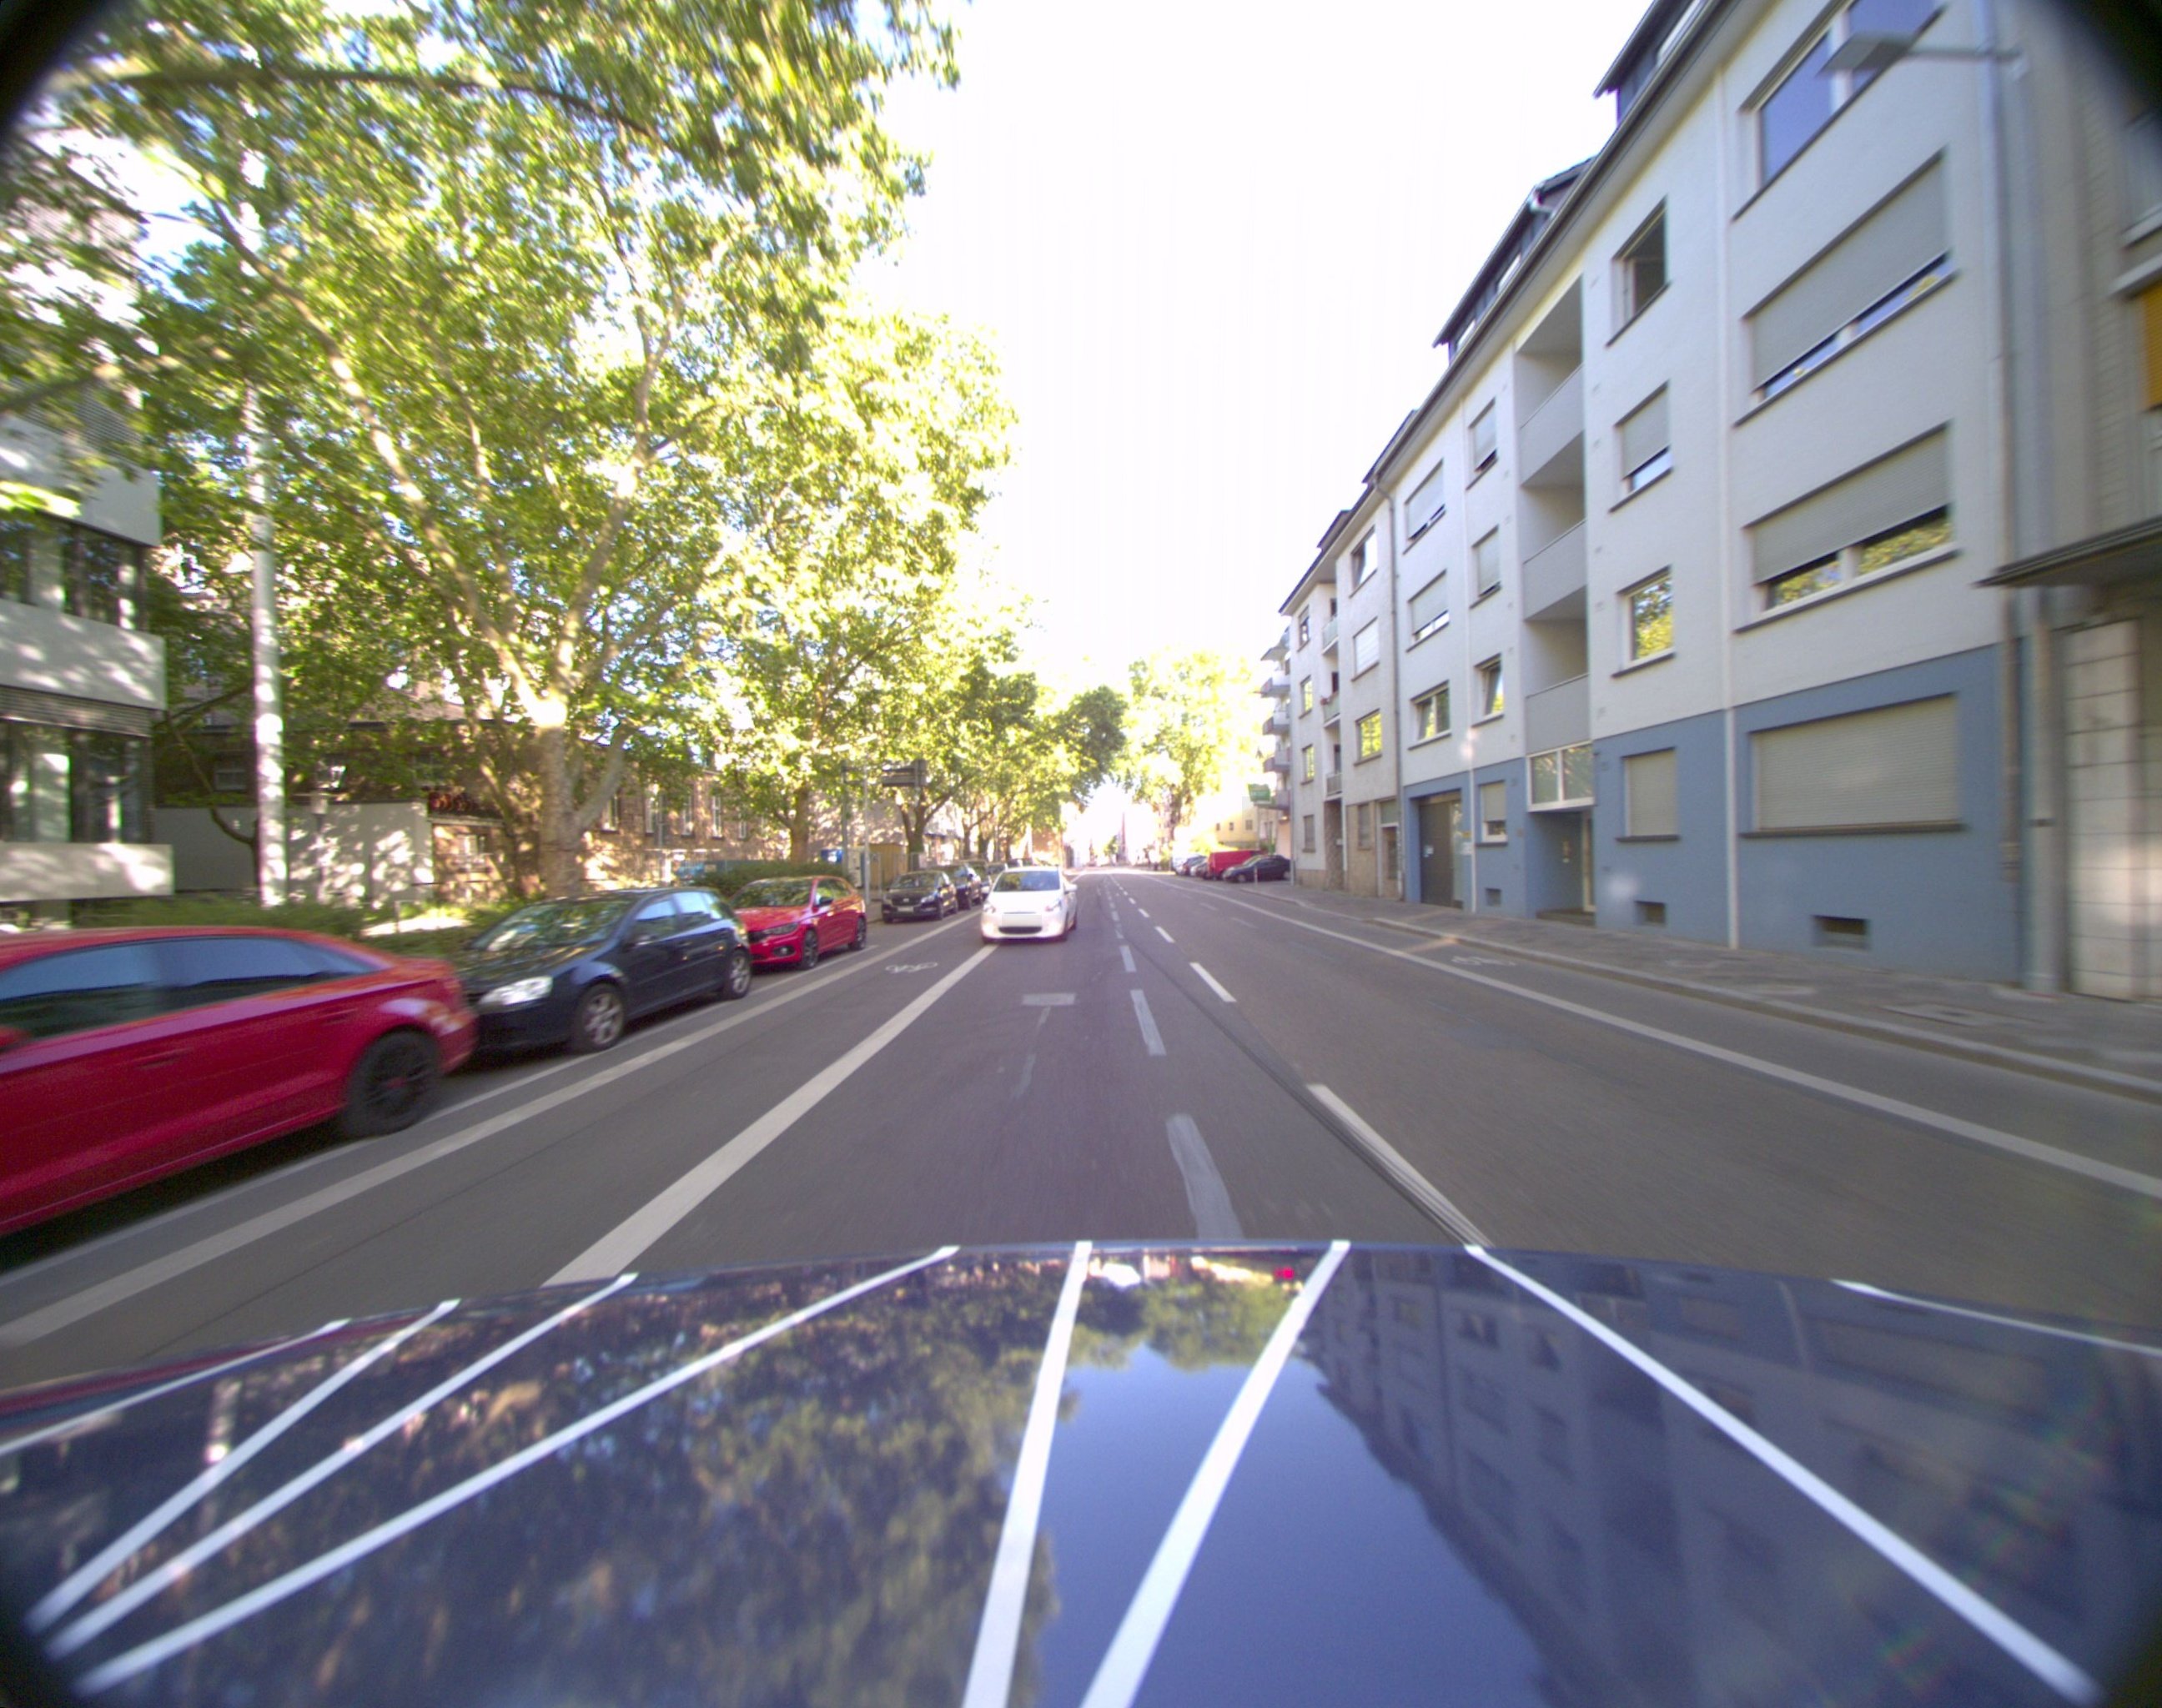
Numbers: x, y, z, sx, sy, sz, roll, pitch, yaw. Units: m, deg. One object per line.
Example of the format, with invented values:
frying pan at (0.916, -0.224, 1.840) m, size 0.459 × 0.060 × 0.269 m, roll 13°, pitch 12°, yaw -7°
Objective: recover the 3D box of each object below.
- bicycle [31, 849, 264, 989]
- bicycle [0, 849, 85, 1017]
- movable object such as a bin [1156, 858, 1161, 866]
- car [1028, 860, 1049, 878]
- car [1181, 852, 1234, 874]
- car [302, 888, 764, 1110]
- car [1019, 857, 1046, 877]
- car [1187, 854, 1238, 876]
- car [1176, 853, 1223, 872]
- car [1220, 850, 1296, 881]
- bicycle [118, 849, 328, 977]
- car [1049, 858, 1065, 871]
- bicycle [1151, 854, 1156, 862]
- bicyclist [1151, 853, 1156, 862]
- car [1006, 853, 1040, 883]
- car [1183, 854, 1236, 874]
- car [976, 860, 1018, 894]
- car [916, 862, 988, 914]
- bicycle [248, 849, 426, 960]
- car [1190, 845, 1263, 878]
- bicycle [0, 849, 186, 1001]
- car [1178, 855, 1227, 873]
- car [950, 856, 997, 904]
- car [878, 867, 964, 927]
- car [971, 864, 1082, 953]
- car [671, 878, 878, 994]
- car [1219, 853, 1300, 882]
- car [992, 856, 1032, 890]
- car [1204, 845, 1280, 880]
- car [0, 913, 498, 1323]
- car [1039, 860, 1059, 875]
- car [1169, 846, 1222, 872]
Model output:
bicycle at (-14.100, 0.952, 11.520) m, size 2.604 × 2.002 × 0.742 m, roll -1°, pitch 0°, yaw 1°
bicycle at (-14.144, 0.967, 9.417) m, size 2.604 × 2.002 × 0.742 m, roll -1°, pitch 0°, yaw 1°
movable object such as a bin at (10.656, 1.153, 104.789) m, size 0.595 × 1.065 × 0.645 m, roll -1°, pitch 0°, yaw 2°
car at (-3.871, 1.355, 70.186) m, size 1.617 × 1.466 × 3.493 m, roll -4°, pitch 0°, yaw 1°
car at (10.916, 0.728, 65.668) m, size 4.204 × 1.674 × 2.028 m, roll -3°, pitch 0°, yaw 1°
car at (-5.129, 1.226, 7.959) m, size 1.697 × 1.458 × 4.066 m, roll -4°, pitch 0°, yaw 2°
car at (-3.865, 1.013, 61.083) m, size 1.641 × 1.476 × 3.760 m, roll -4°, pitch 0°, yaw 3°
car at (10.487, 0.835, 60.622) m, size 3.694 × 1.504 × 1.831 m, roll -4°, pitch 0°, yaw 1°
car at (10.949, 0.811, 70.328) m, size 3.997 × 1.550 × 1.853 m, roll -3°, pitch 0°, yaw 1°
car at (10.802, 0.694, 46.618) m, size 4.183 × 1.554 × 1.886 m, roll -4°, pitch 0°, yaw 2°
bicycle at (-14.101, 0.946, 12.527) m, size 2.604 × 2.002 × 0.742 m, roll -1°, pitch 0°, yaw 1°
car at (-2.942, 1.279, 92.846) m, size 1.860 × 1.428 × 4.969 m, roll -2°, pitch 0°, yaw -2°
bicycle at (11.332, 0.624, 118.604) m, size 0.608 × 1.232 × 2.050 m, roll 0°, pitch -1°, yaw 1°
bicyclist at (11.326, 0.557, 118.837) m, size 0.608 × 1.535 × 0.934 m, roll 0°, pitch 0°, yaw 1°
car at (-4.220, 0.984, 56.365) m, size 2.083 × 1.982 × 5.171 m, roll -3°, pitch 0°, yaw -1°
car at (10.584, 0.844, 62.861) m, size 3.997 × 1.447 × 1.916 m, roll -3°, pitch 0°, yaw 1°
car at (-4.404, 1.168, 40.441) m, size 1.697 × 1.618 × 4.329 m, roll -4°, pitch 0°, yaw -1°
car at (-4.615, 1.171, 27.877) m, size 1.780 × 1.618 × 4.620 m, roll -4°, pitch 0°, yaw 0°
bicycle at (-14.021, 0.931, 14.356) m, size 2.604 × 2.002 × 0.742 m, roll -1°, pitch 0°, yaw 1°
car at (9.969, 0.533, 52.390) m, size 4.533 × 1.940 × 2.057 m, roll -4°, pitch 0°, yaw 2°
bicycle at (-14.122, 0.959, 10.503) m, size 2.604 × 2.002 × 0.742 m, roll -1°, pitch 0°, yaw 1°
car at (10.873, 0.870, 68.203) m, size 3.997 × 1.424 × 1.853 m, roll -3°, pitch 0°, yaw 1°
car at (-4.701, 1.086, 33.648) m, size 1.830 × 1.830 × 4.896 m, roll -4°, pitch 0°, yaw -7°
car at (-4.709, 1.224, 22.871) m, size 1.697 × 1.494 × 4.020 m, roll -4°, pitch 0°, yaw -1°
car at (-1.001, 1.030, 15.804) m, size 1.682 × 1.490 × 3.686 m, roll -3°, pitch 0°, yaw 5°
car at (-5.076, 1.268, 13.299) m, size 1.697 × 1.470 × 4.319 m, roll -4°, pitch 0°, yaw 1°
car at (10.400, 0.782, 44.423) m, size 4.239 × 1.372 × 2.046 m, roll -3°, pitch 1°, yaw 2°
car at (-4.045, 1.085, 44.972) m, size 1.697 × 1.802 × 4.131 m, roll -4°, pitch 0°, yaw 3°
car at (10.460, 0.531, 49.671) m, size 4.432 × 1.940 × 2.146 m, roll -4°, pitch 0°, yaw 2°
car at (-5.188, 1.199, 3.396) m, size 1.697 × 1.441 × 4.435 m, roll -4°, pitch 0°, yaw -1°
car at (-3.407, 1.411, 82.074) m, size 1.860 × 1.514 × 4.297 m, roll -3°, pitch 0°, yaw 1°
car at (11.234, 0.484, 74.930) m, size 4.856 × 2.204 × 2.140 m, roll -3°, pitch 0°, yaw 1°
